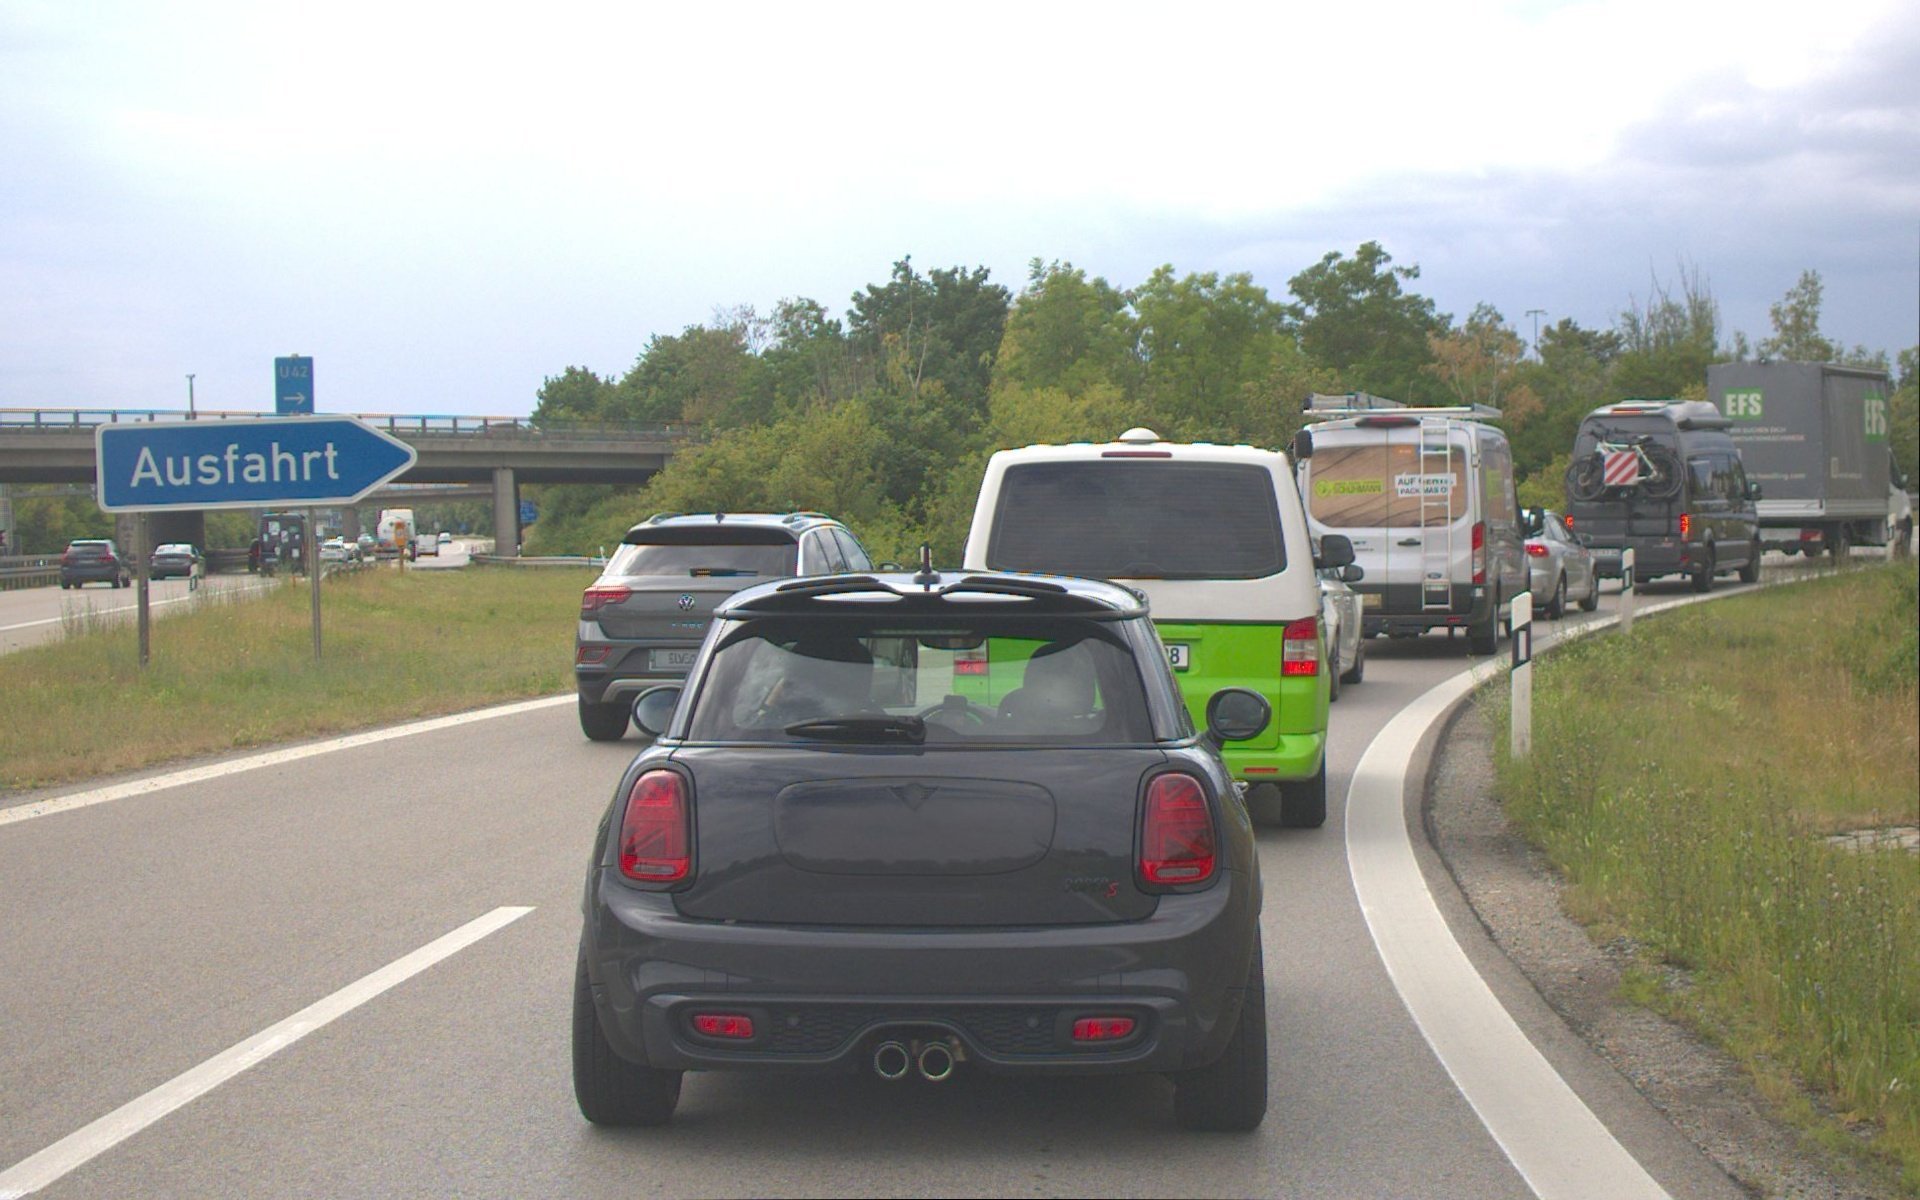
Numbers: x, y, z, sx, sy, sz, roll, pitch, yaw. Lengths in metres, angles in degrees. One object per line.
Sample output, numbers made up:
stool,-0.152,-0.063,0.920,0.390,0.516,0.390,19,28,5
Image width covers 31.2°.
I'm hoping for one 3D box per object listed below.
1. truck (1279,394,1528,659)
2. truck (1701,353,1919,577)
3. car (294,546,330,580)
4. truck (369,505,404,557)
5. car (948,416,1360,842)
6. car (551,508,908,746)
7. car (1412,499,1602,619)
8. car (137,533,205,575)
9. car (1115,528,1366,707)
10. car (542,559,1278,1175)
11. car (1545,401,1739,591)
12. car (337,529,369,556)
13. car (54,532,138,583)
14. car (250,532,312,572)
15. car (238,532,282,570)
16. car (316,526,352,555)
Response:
truck,4.879,-0.823,37.160,2.179,2.649,5.106,0,2,13
truck,15.720,-2.392,63.297,2.232,3.893,6.006,1,0,31
car,-39.609,-2.302,210.307,1.993,2.007,4.001,-1,1,-9
truck,-39.887,-4.782,239.311,2.145,3.495,4.001,1,0,-7
car,1.141,0.088,18.313,1.785,2.007,3.999,0,1,9
car,-1.544,0.161,24.484,1.796,1.550,3.960,0,0,7
car,7.265,-0.558,45.367,1.868,1.504,3.997,0,1,18
car,-32.521,-1.921,141.764,2.159,1.665,4.307,-1,1,-5
car,2.434,0.105,29.101,1.763,1.394,3.724,-1,1,10
car,-0.083,0.604,9.939,1.727,1.409,3.725,0,1,1
car,10.518,-1.592,52.821,2.107,2.786,3.995,1,2,23
car,-45.741,-4.320,259.109,1.993,1.961,4.001,1,0,-5
car,-29.258,-1.457,116.517,2.095,1.665,4.307,-1,1,-5
car,-28.569,-2.031,144.770,2.095,1.665,4.307,-1,1,-5
car,-37.424,-2.602,183.910,2.068,2.007,4.001,1,0,-8
car,-42.883,-4.054,235.577,1.993,1.961,4.001,1,0,-5
